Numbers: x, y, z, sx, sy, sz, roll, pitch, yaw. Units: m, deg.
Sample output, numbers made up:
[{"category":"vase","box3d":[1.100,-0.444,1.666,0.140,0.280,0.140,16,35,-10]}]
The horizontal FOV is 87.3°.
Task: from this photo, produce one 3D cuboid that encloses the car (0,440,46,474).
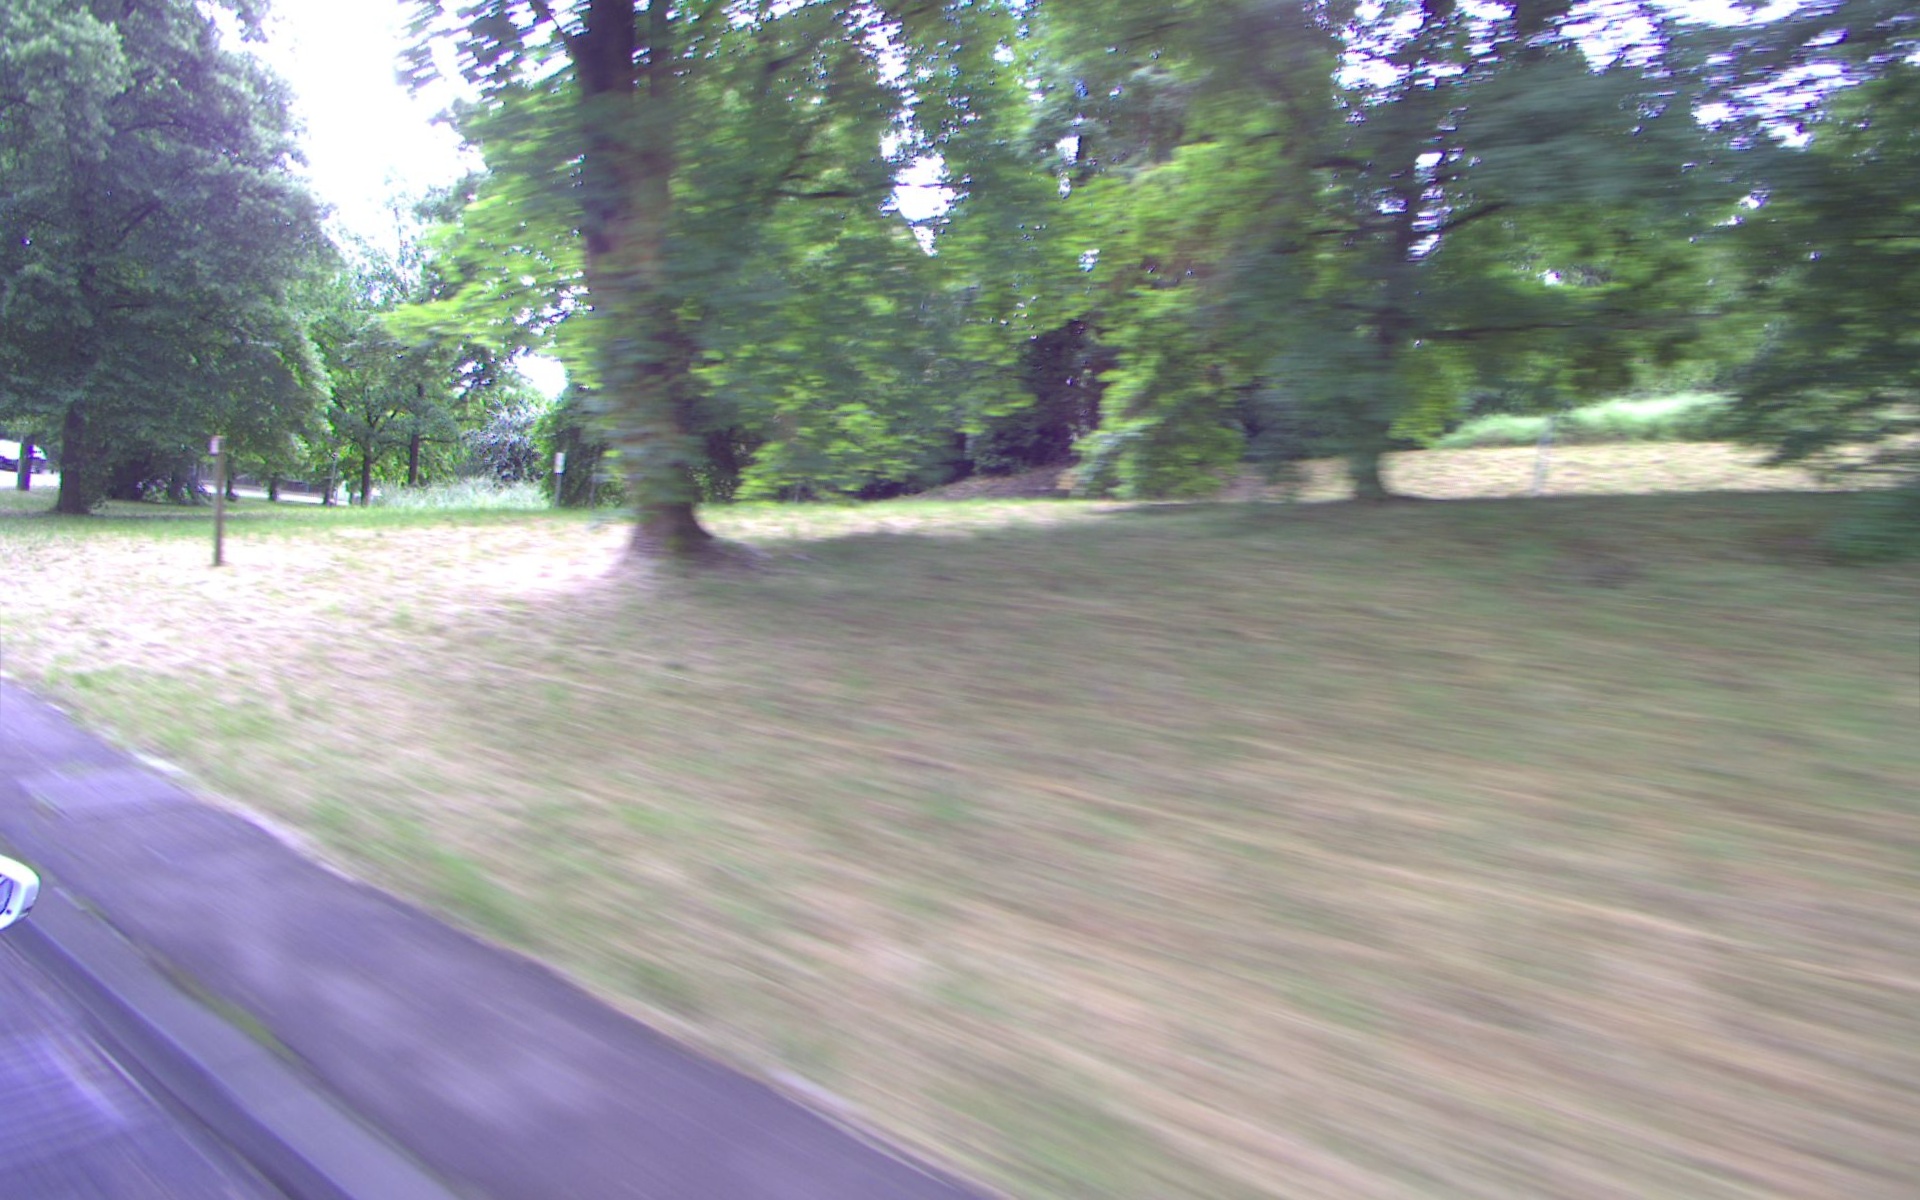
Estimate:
[{"category":"car","box3d":[-53.729,-8.135,56.985,1.833,1.583,4.198,9,0,-30]}]
